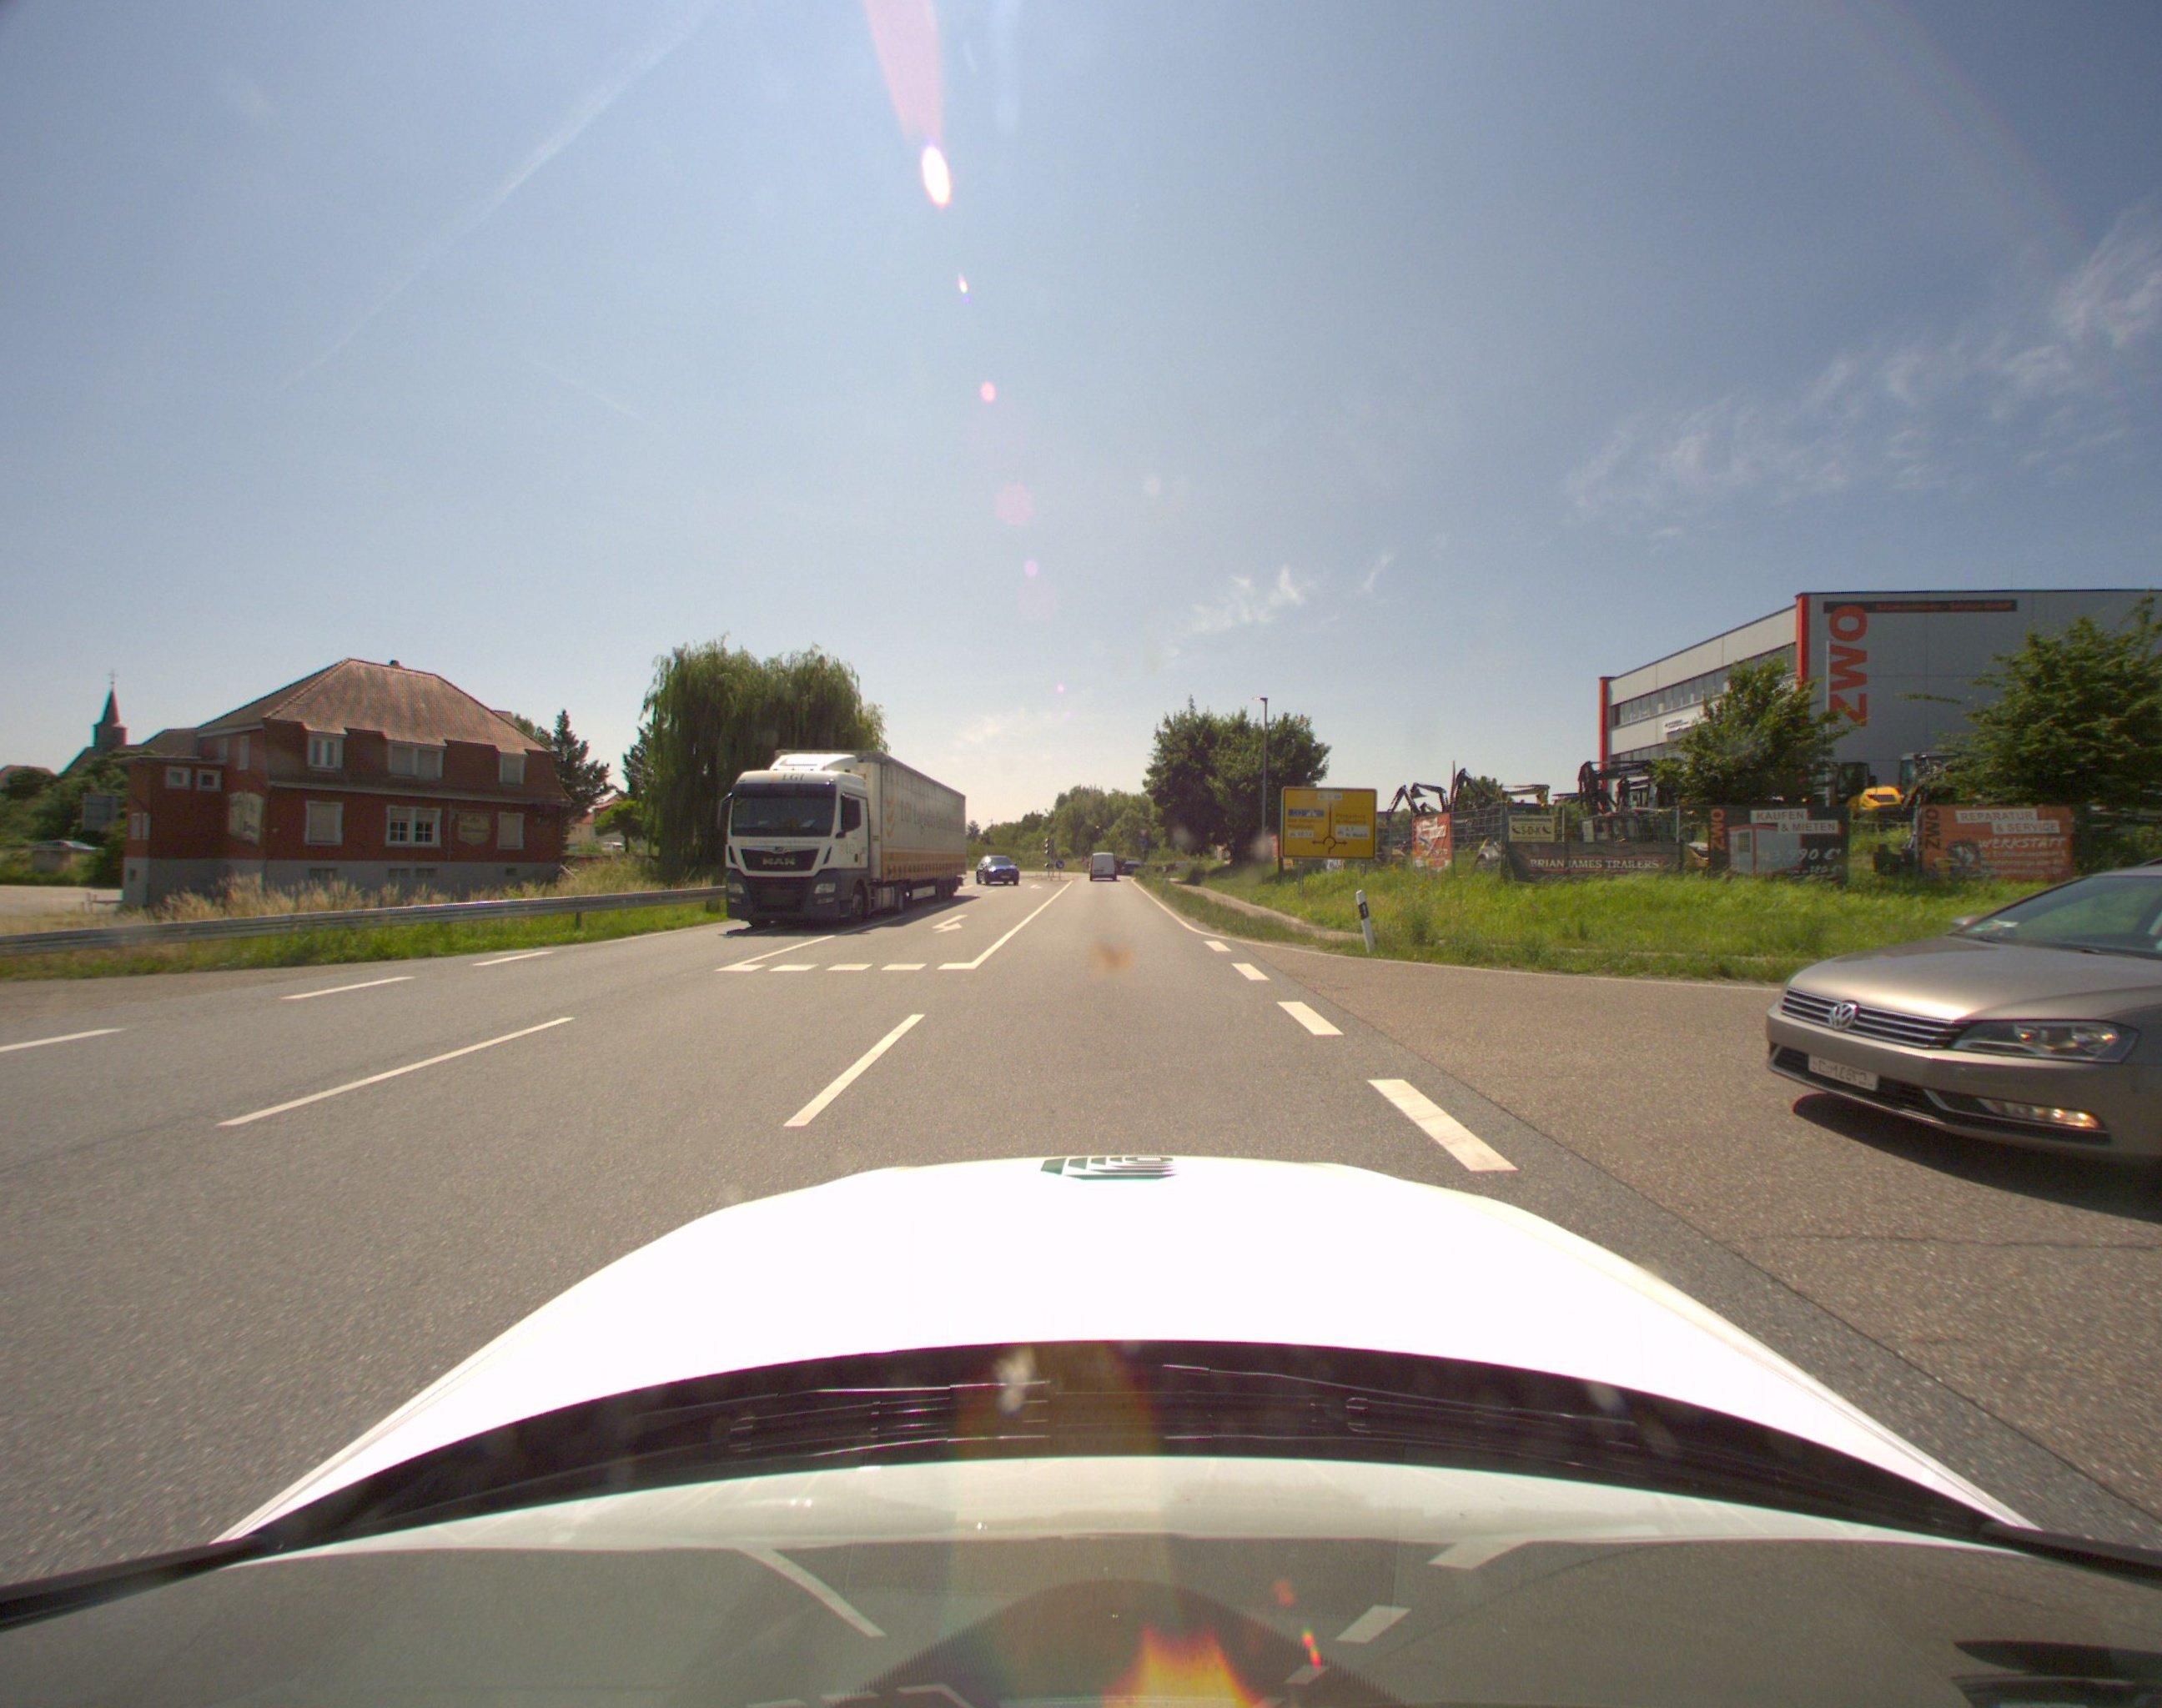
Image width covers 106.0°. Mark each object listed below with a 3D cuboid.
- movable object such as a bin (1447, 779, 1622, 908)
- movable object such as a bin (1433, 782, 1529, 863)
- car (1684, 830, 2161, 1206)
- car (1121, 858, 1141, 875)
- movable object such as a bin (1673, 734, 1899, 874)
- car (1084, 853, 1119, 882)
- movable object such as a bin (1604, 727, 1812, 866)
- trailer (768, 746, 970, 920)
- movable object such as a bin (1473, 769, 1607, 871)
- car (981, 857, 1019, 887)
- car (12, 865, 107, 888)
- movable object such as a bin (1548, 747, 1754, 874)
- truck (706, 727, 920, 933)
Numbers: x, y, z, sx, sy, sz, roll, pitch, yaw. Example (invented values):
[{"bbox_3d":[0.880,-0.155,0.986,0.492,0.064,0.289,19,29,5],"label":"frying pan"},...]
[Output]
[{"bbox_3d":[12.860,-0.189,23.556,2.314,3.250,5.103,2,-2,2],"label":"movable object such as a bin"},{"bbox_3d":[26.680,-2.036,54.545,5.061,5.055,2.781,2,-2,4],"label":"movable object such as a bin"},{"bbox_3d":[6.056,0.651,4.171,4.493,1.508,1.916,0,0,2],"label":"car"},{"bbox_3d":[4.791,1.181,78.470,1.798,1.556,4.002,1,1,2],"label":"car"},{"bbox_3d":[23.437,-1.569,27.319,5.061,4.275,2.837,2,-2,4],"label":"movable object such as a bin"},{"bbox_3d":[1.287,0.866,52.682,1.899,1.732,3.817,1,-1,-3],"label":"car"},{"bbox_3d":[24.967,-2.208,32.695,5.891,5.106,3.112,2,-2,4],"label":"movable object such as a bin"},{"bbox_3d":[-6.010,-0.533,26.323,2.781,4.056,13.502,2,0,0],"label":"trailer"},{"bbox_3d":[25.533,-1.821,45.543,5.690,5.270,3.225,2,-2,4],"label":"movable object such as a bin"},{"bbox_3d":[-4.589,0.954,45.770,1.847,1.567,3.986,-1,0,-10],"label":"car"},{"bbox_3d":[-71.801,1.575,57.320,1.569,1.442,4.024,0,1,43],"label":"car"},{"bbox_3d":[25.326,-1.826,36.579,6.560,5.148,3.810,2,-2,4],"label":"movable object such as a bin"},{"bbox_3d":[-6.087,-0.499,19.842,2.781,4.056,6.753,2,0,0],"label":"truck"}]
